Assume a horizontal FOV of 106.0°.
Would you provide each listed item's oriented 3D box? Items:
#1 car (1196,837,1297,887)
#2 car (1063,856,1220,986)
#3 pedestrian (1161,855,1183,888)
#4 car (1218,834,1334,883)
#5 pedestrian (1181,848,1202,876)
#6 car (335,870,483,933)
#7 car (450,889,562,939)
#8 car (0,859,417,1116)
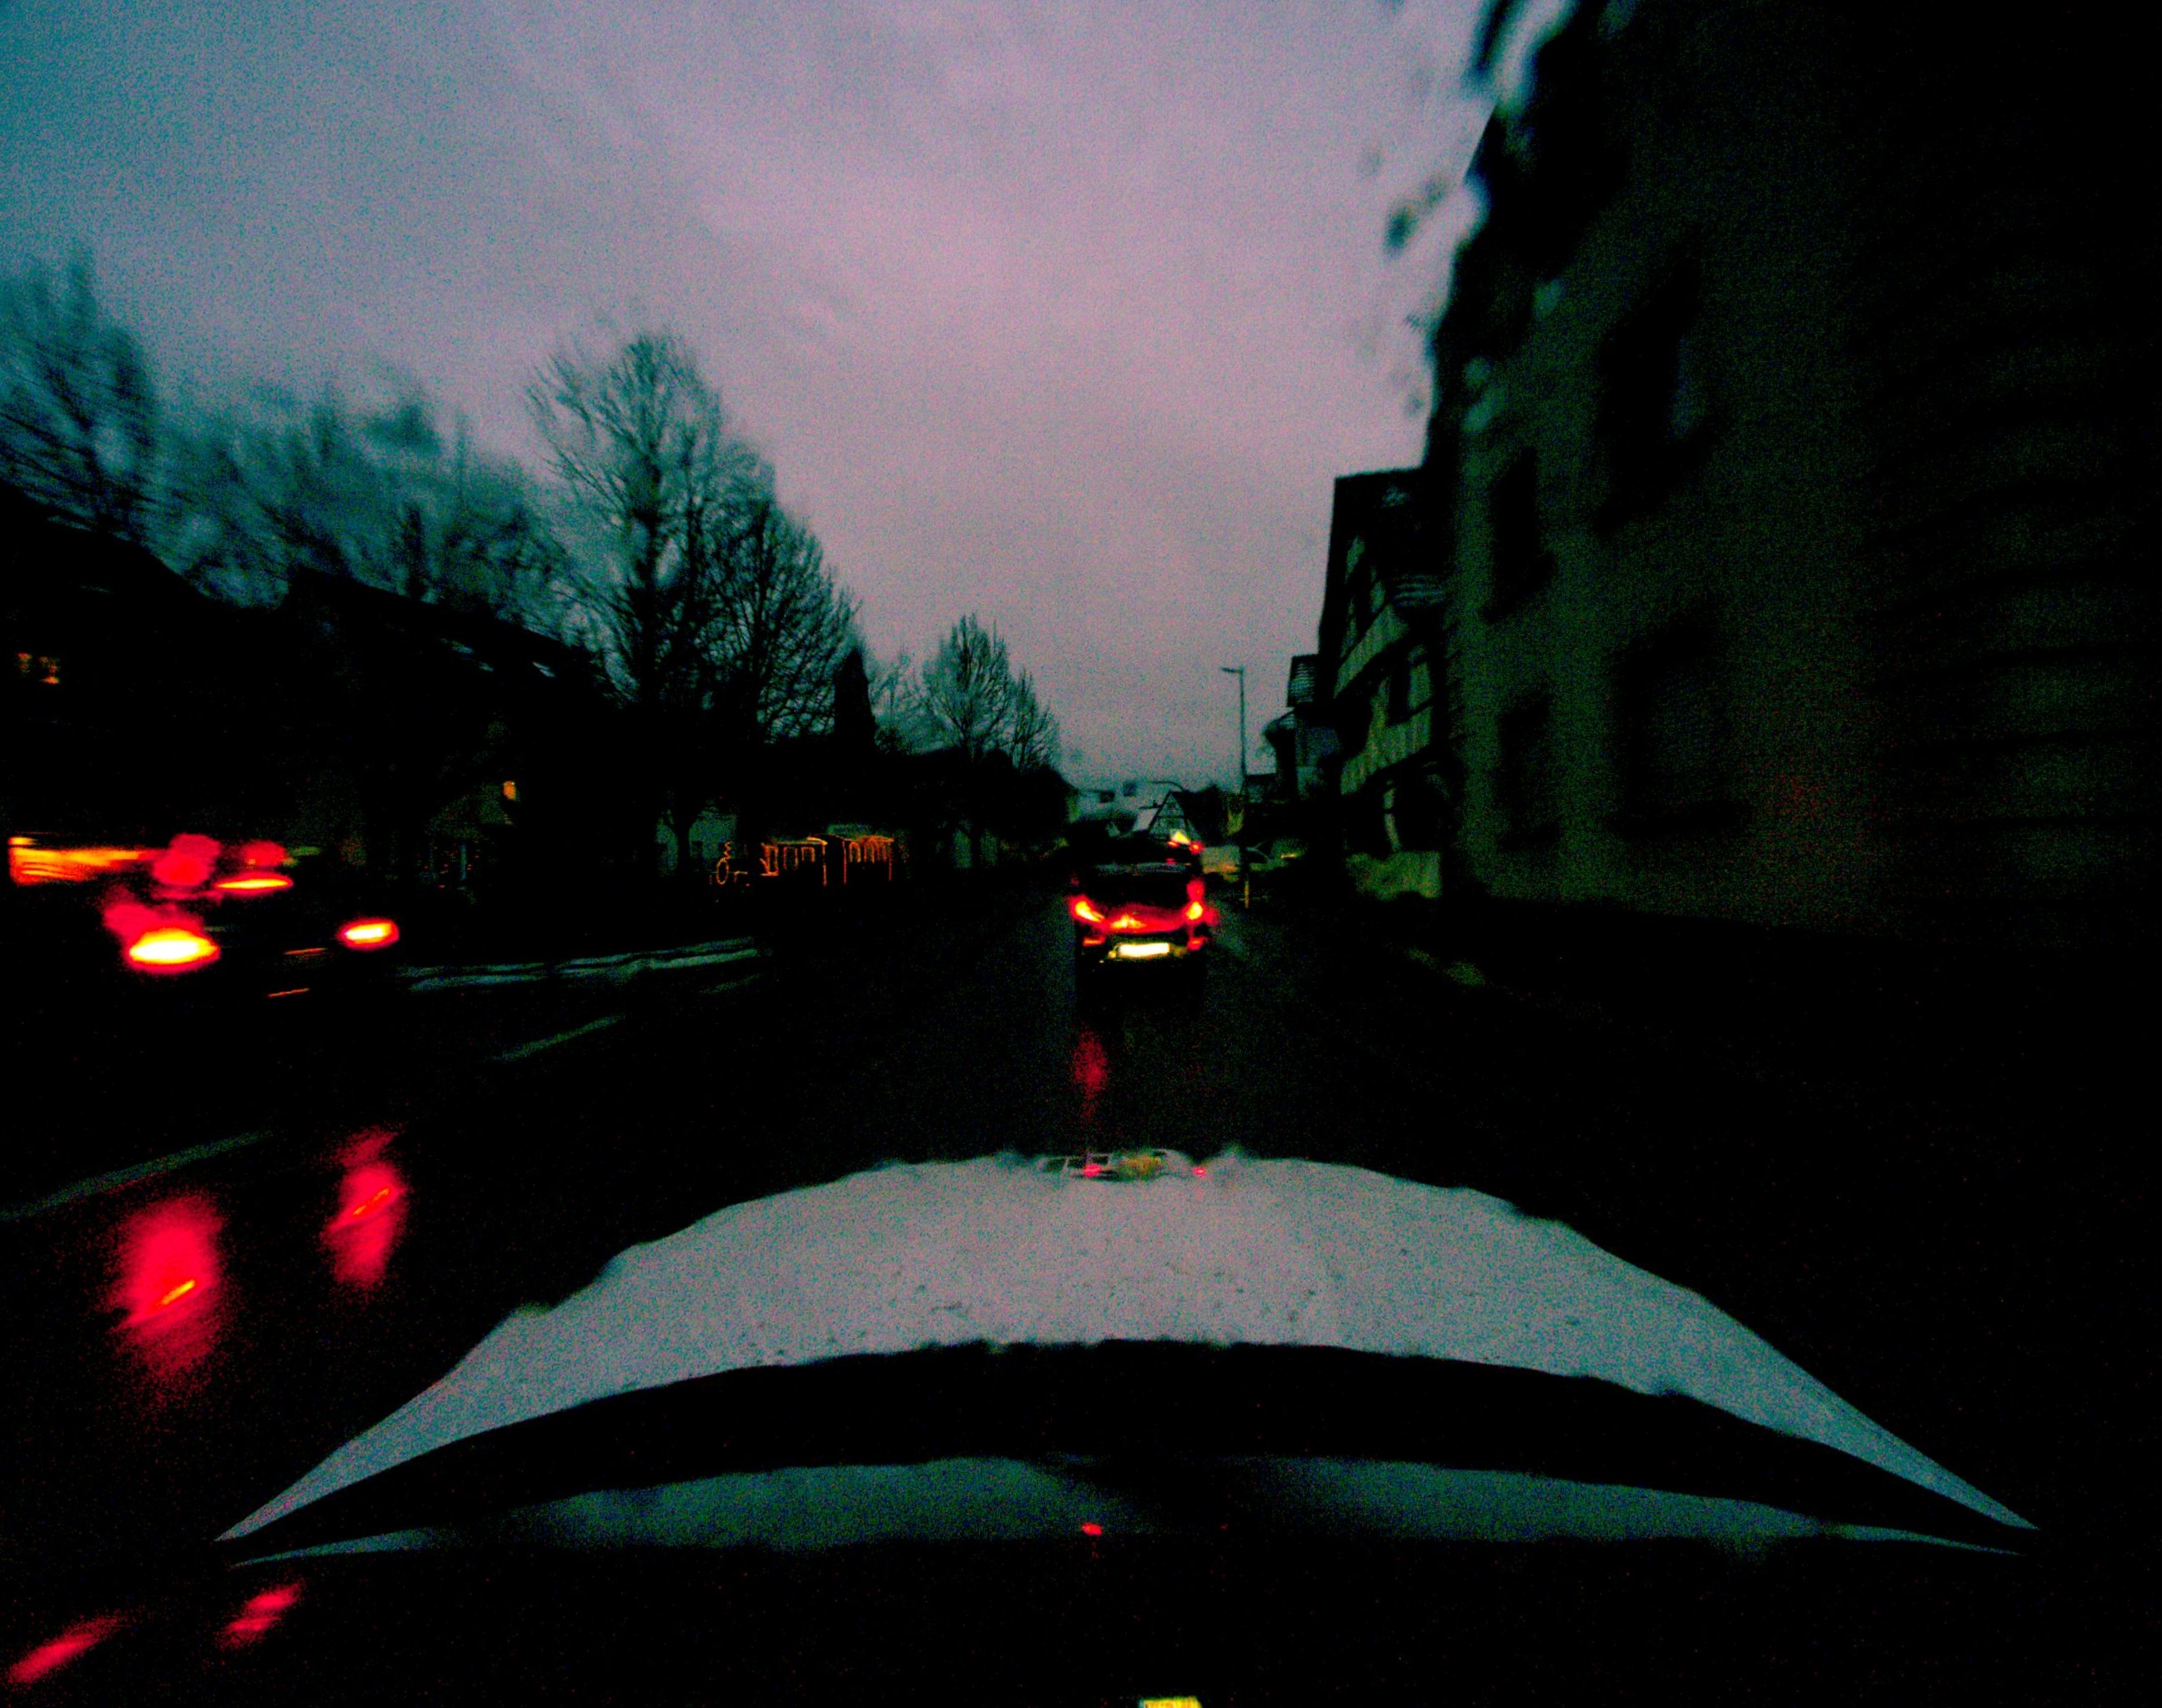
[{"bbox_3d":[7.078,0.360,35.047,4.017,1.843,1.869,-4,-1,10],"label":"car"},{"bbox_3d":[0.780,0.777,11.384,1.788,1.476,4.002,-1,0,2],"label":"car"},{"bbox_3d":[5.100,0.987,45.523,0.872,1.735,0.961,-5,-1,23],"label":"pedestrian"},{"bbox_3d":[8.918,0.206,37.402,4.944,1.889,1.944,-4,-1,14],"label":"car"},{"bbox_3d":[6.752,0.476,49.771,0.859,1.667,0.997,-5,-1,23],"label":"pedestrian"},{"bbox_3d":[-18.332,1.224,22.194,3.948,1.508,1.934,-1,0,32],"label":"car"},{"bbox_3d":[-17.505,1.773,24.763,3.284,1.329,1.624,-1,0,32],"label":"car"},{"bbox_3d":[-6.890,0.809,6.023,3.274,1.507,1.509,-1,0,18],"label":"car"}]
